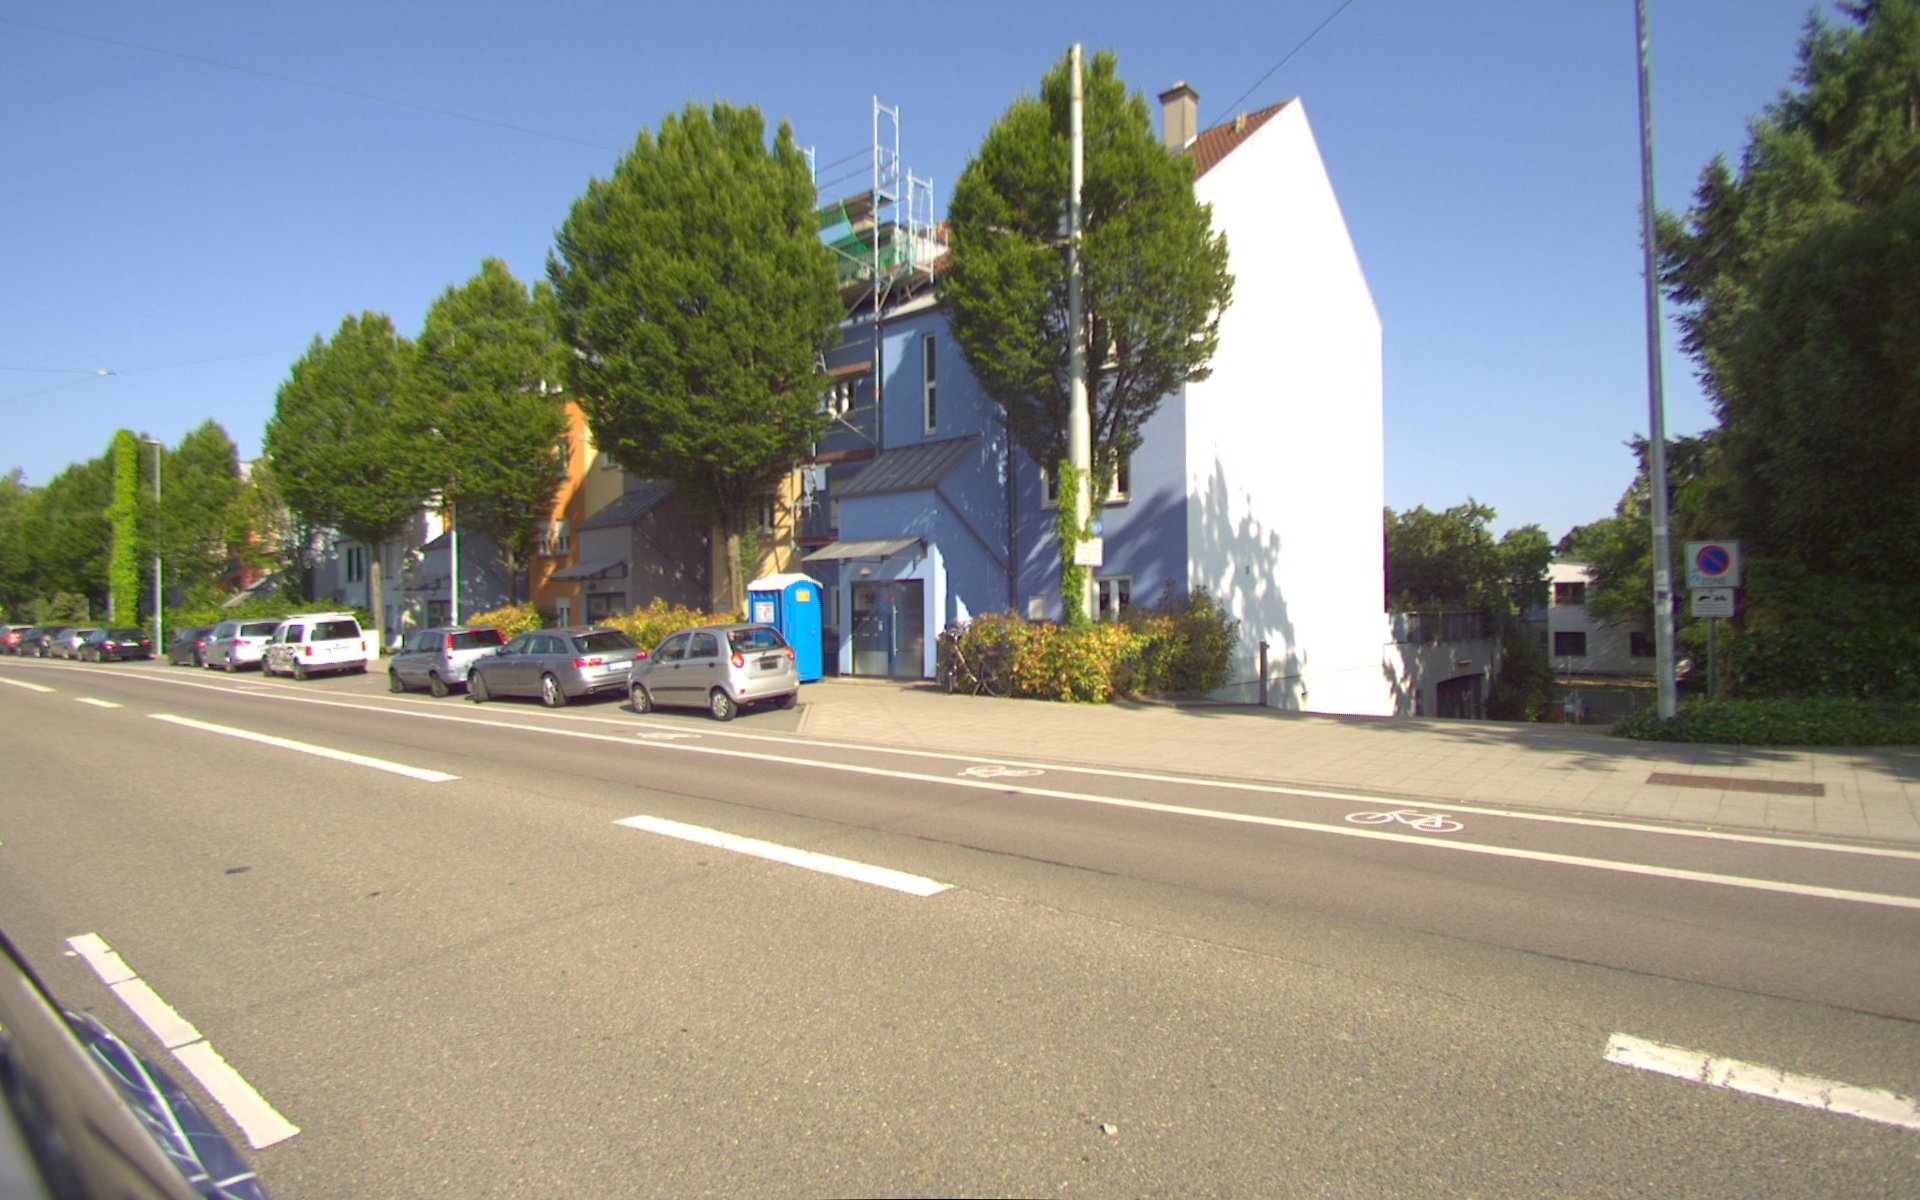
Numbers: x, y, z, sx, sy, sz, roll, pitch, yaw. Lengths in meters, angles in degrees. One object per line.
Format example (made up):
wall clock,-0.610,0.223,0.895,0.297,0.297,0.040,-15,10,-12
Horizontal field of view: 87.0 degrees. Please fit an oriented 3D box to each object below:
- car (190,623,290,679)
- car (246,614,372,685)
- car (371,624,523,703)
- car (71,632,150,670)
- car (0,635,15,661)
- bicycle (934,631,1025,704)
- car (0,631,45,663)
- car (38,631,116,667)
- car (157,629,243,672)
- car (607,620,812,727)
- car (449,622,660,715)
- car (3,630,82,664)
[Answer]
car,-24.586,1.680,34.489,4.821,1.713,1.651,-2,1,41
car,-19.740,1.464,30.594,4.575,1.859,1.746,-2,3,39
car,-12.158,1.428,23.904,3.979,1.550,1.745,-2,3,41
car,-37.625,2.211,44.801,4.903,1.483,1.693,-2,1,38
car,-55.905,2.777,57.909,4.699,1.435,1.639,-2,-1,34
bicycle,0.314,1.130,17.429,0.438,1.163,1.786,0,-1,-43
car,-51.478,2.526,54.959,4.150,1.586,1.748,-1,-1,34
car,-42.310,2.311,48.476,4.833,1.482,1.698,-1,1,35
car,-28.616,1.876,38.058,4.053,1.477,1.600,-2,0,38
car,-4.348,1.185,17.354,3.506,1.505,1.585,-2,3,40
car,-8.281,1.312,20.470,4.749,1.521,1.733,-2,3,38
car,-46.711,2.360,51.528,4.420,1.585,1.750,-1,0,31
